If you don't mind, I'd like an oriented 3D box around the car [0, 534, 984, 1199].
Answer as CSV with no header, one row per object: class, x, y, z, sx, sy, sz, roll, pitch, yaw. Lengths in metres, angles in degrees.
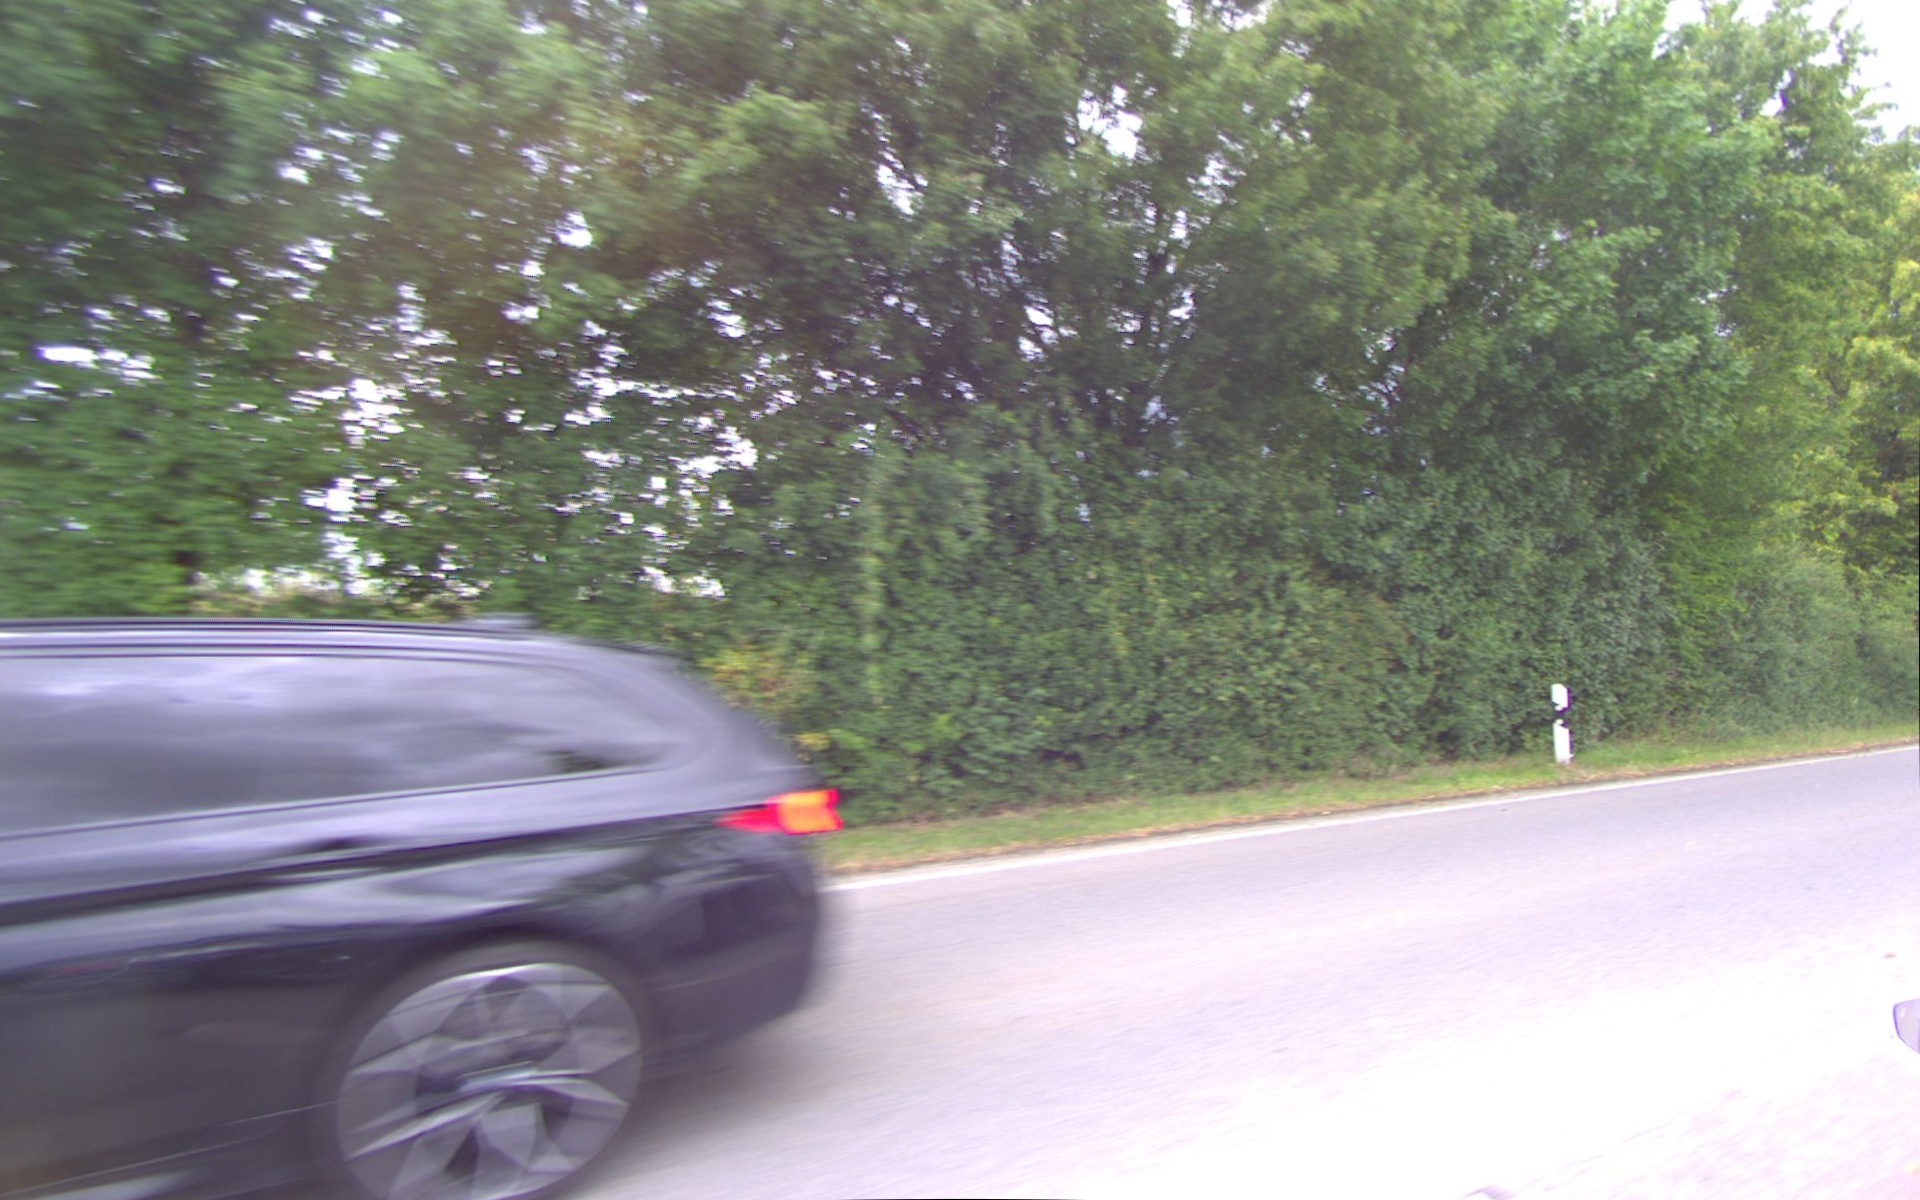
car,-2.326,0.717,2.731,4.506,1.607,1.930,2,-3,-32
